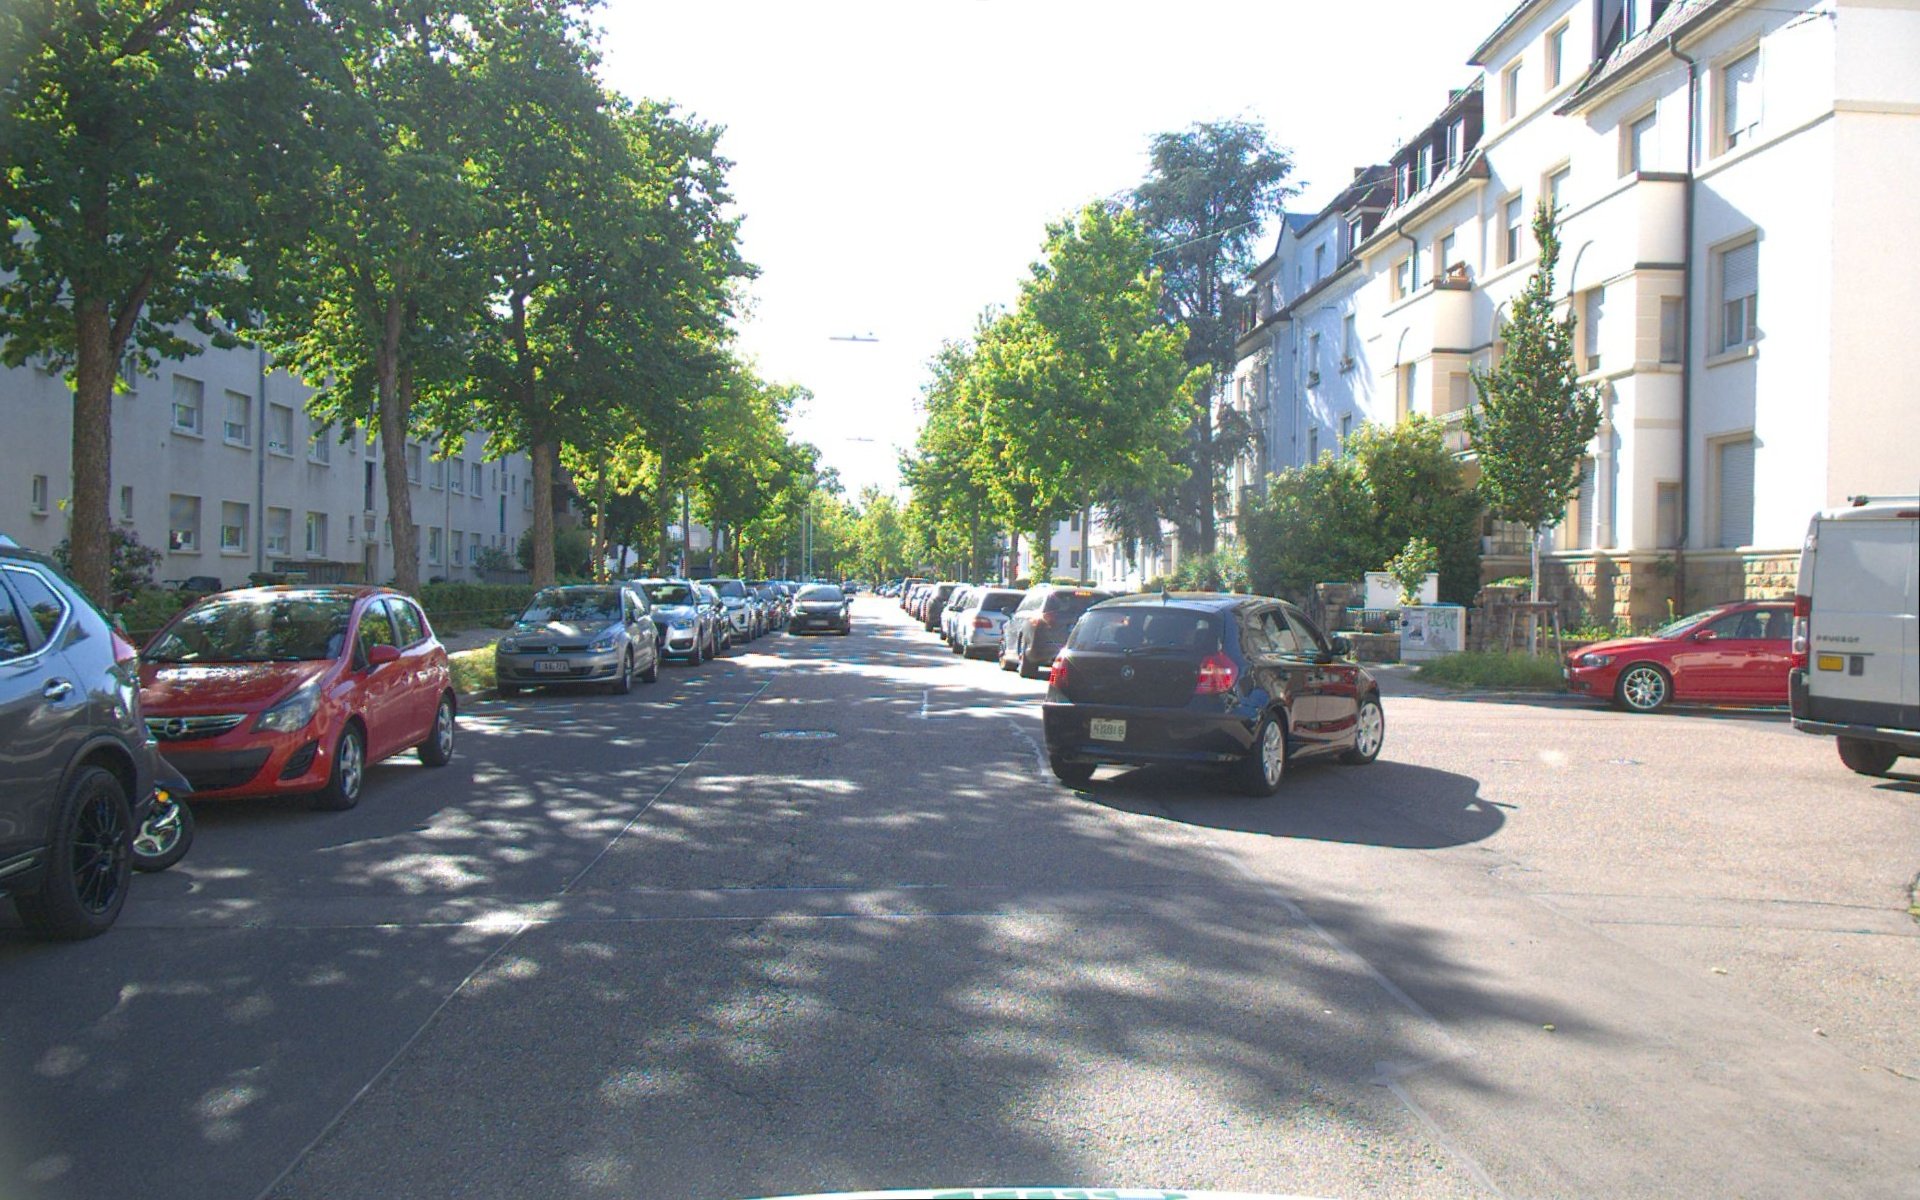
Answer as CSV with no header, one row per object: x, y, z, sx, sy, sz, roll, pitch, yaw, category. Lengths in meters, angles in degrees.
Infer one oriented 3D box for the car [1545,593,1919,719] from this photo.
10.345,0.704,21.927,4.617,1.495,1.955,1,0,11,car

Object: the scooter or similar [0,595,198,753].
-7.305,0.587,14.031,0.544,1.256,1.512,1,0,26,scooter or similar

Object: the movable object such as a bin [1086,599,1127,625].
5.463,0.442,61.699,1.195,0.920,1.665,1,1,17,movable object such as a bin

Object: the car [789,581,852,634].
-4.129,0.189,49.176,1.773,1.471,4.363,-1,0,-4,car

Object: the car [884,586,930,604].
-4.731,-0.441,147.904,3.911,1.615,1.724,1,0,-7,car

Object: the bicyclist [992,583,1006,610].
2.258,-0.211,96.603,0.663,1.580,1.020,1,0,-7,bicyclist

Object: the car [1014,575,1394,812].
2.069,0.591,12.986,1.748,1.550,3.995,0,1,28,car

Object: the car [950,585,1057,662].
0.883,0.455,36.250,1.786,1.495,4.905,3,0,-5,car

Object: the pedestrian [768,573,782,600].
-14.241,-1.056,127.512,0.841,2.049,0.982,1,0,5,pedestrian

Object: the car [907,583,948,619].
-1.706,0.024,86.173,1.869,1.728,4.310,4,0,-3,car

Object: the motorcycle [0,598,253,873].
-4.843,0.672,8.703,1.912,1.355,0.788,0,0,4,motorcycle

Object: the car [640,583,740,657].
-5.867,0.381,36.463,1.694,1.472,4.817,-1,1,-4,car

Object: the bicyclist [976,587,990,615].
1.340,0.049,96.722,0.664,1.638,0.920,1,0,-7,bicyclist

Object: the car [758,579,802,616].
-8.119,-0.115,75.047,1.775,1.624,4.230,0,0,-4,car

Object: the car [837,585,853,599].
-13.807,-1.008,198.630,1.749,1.637,3.993,1,0,-7,car

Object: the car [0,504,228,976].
-4.340,0.509,5.772,1.733,1.717,4.810,0,1,-4,car

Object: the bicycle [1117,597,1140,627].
5.926,0.414,58.215,0.569,0.992,1.903,0,0,-2,bicycle

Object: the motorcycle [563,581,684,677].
-5.568,0.445,27.307,0.981,1.530,2.199,0,1,-43,motorcycle

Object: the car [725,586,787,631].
-6.780,0.250,55.291,1.744,1.403,4.260,-1,0,-3,car

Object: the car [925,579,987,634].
-0.185,0.187,56.507,1.887,1.680,5.093,3,1,-2,car

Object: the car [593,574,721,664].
-5.636,0.307,31.285,2.024,1.550,4.716,1,1,-6,car

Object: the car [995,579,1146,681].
1.778,0.483,28.319,1.858,1.551,4.962,2,0,-5,car

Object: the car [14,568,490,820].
-4.833,0.545,12.010,1.819,1.495,4.180,1,1,-3,car

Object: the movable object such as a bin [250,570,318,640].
-13.275,0.095,32.520,0.912,1.347,1.376,0,0,-9,movable object such as a bin

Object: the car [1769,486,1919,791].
9.514,0.309,14.049,4.980,2.346,2.215,0,0,-27,car

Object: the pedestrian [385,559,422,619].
-18.343,-0.355,54.491,0.765,1.947,0.878,0,0,23,pedestrian

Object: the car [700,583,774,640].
-6.470,0.301,48.347,1.694,1.503,4.616,-3,1,-3,car

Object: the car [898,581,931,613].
-2.952,-0.177,106.338,1.932,1.983,4.981,1,0,-4,car

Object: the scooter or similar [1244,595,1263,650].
6.701,0.506,37.723,0.393,1.205,1.207,1,1,12,scooter or similar

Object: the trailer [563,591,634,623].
-12.471,0.222,57.204,1.752,1.052,3.280,1,0,-1,trailer

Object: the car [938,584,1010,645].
0.356,0.382,46.947,1.622,1.559,3.966,3,0,-5,car

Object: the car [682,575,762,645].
-6.143,0.222,43.018,1.694,1.646,4.363,-3,1,-4,car

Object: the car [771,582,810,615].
-8.285,-0.080,81.216,1.676,1.571,3.928,-1,0,-3,car

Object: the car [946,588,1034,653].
0.683,0.465,41.233,1.677,1.435,4.857,3,0,-5,car

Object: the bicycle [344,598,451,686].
-7.474,0.532,22.078,0.520,1.032,2.091,8,1,2,bicycle

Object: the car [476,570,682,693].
-5.256,0.381,23.464,2.002,1.550,4.604,1,1,-2,car
